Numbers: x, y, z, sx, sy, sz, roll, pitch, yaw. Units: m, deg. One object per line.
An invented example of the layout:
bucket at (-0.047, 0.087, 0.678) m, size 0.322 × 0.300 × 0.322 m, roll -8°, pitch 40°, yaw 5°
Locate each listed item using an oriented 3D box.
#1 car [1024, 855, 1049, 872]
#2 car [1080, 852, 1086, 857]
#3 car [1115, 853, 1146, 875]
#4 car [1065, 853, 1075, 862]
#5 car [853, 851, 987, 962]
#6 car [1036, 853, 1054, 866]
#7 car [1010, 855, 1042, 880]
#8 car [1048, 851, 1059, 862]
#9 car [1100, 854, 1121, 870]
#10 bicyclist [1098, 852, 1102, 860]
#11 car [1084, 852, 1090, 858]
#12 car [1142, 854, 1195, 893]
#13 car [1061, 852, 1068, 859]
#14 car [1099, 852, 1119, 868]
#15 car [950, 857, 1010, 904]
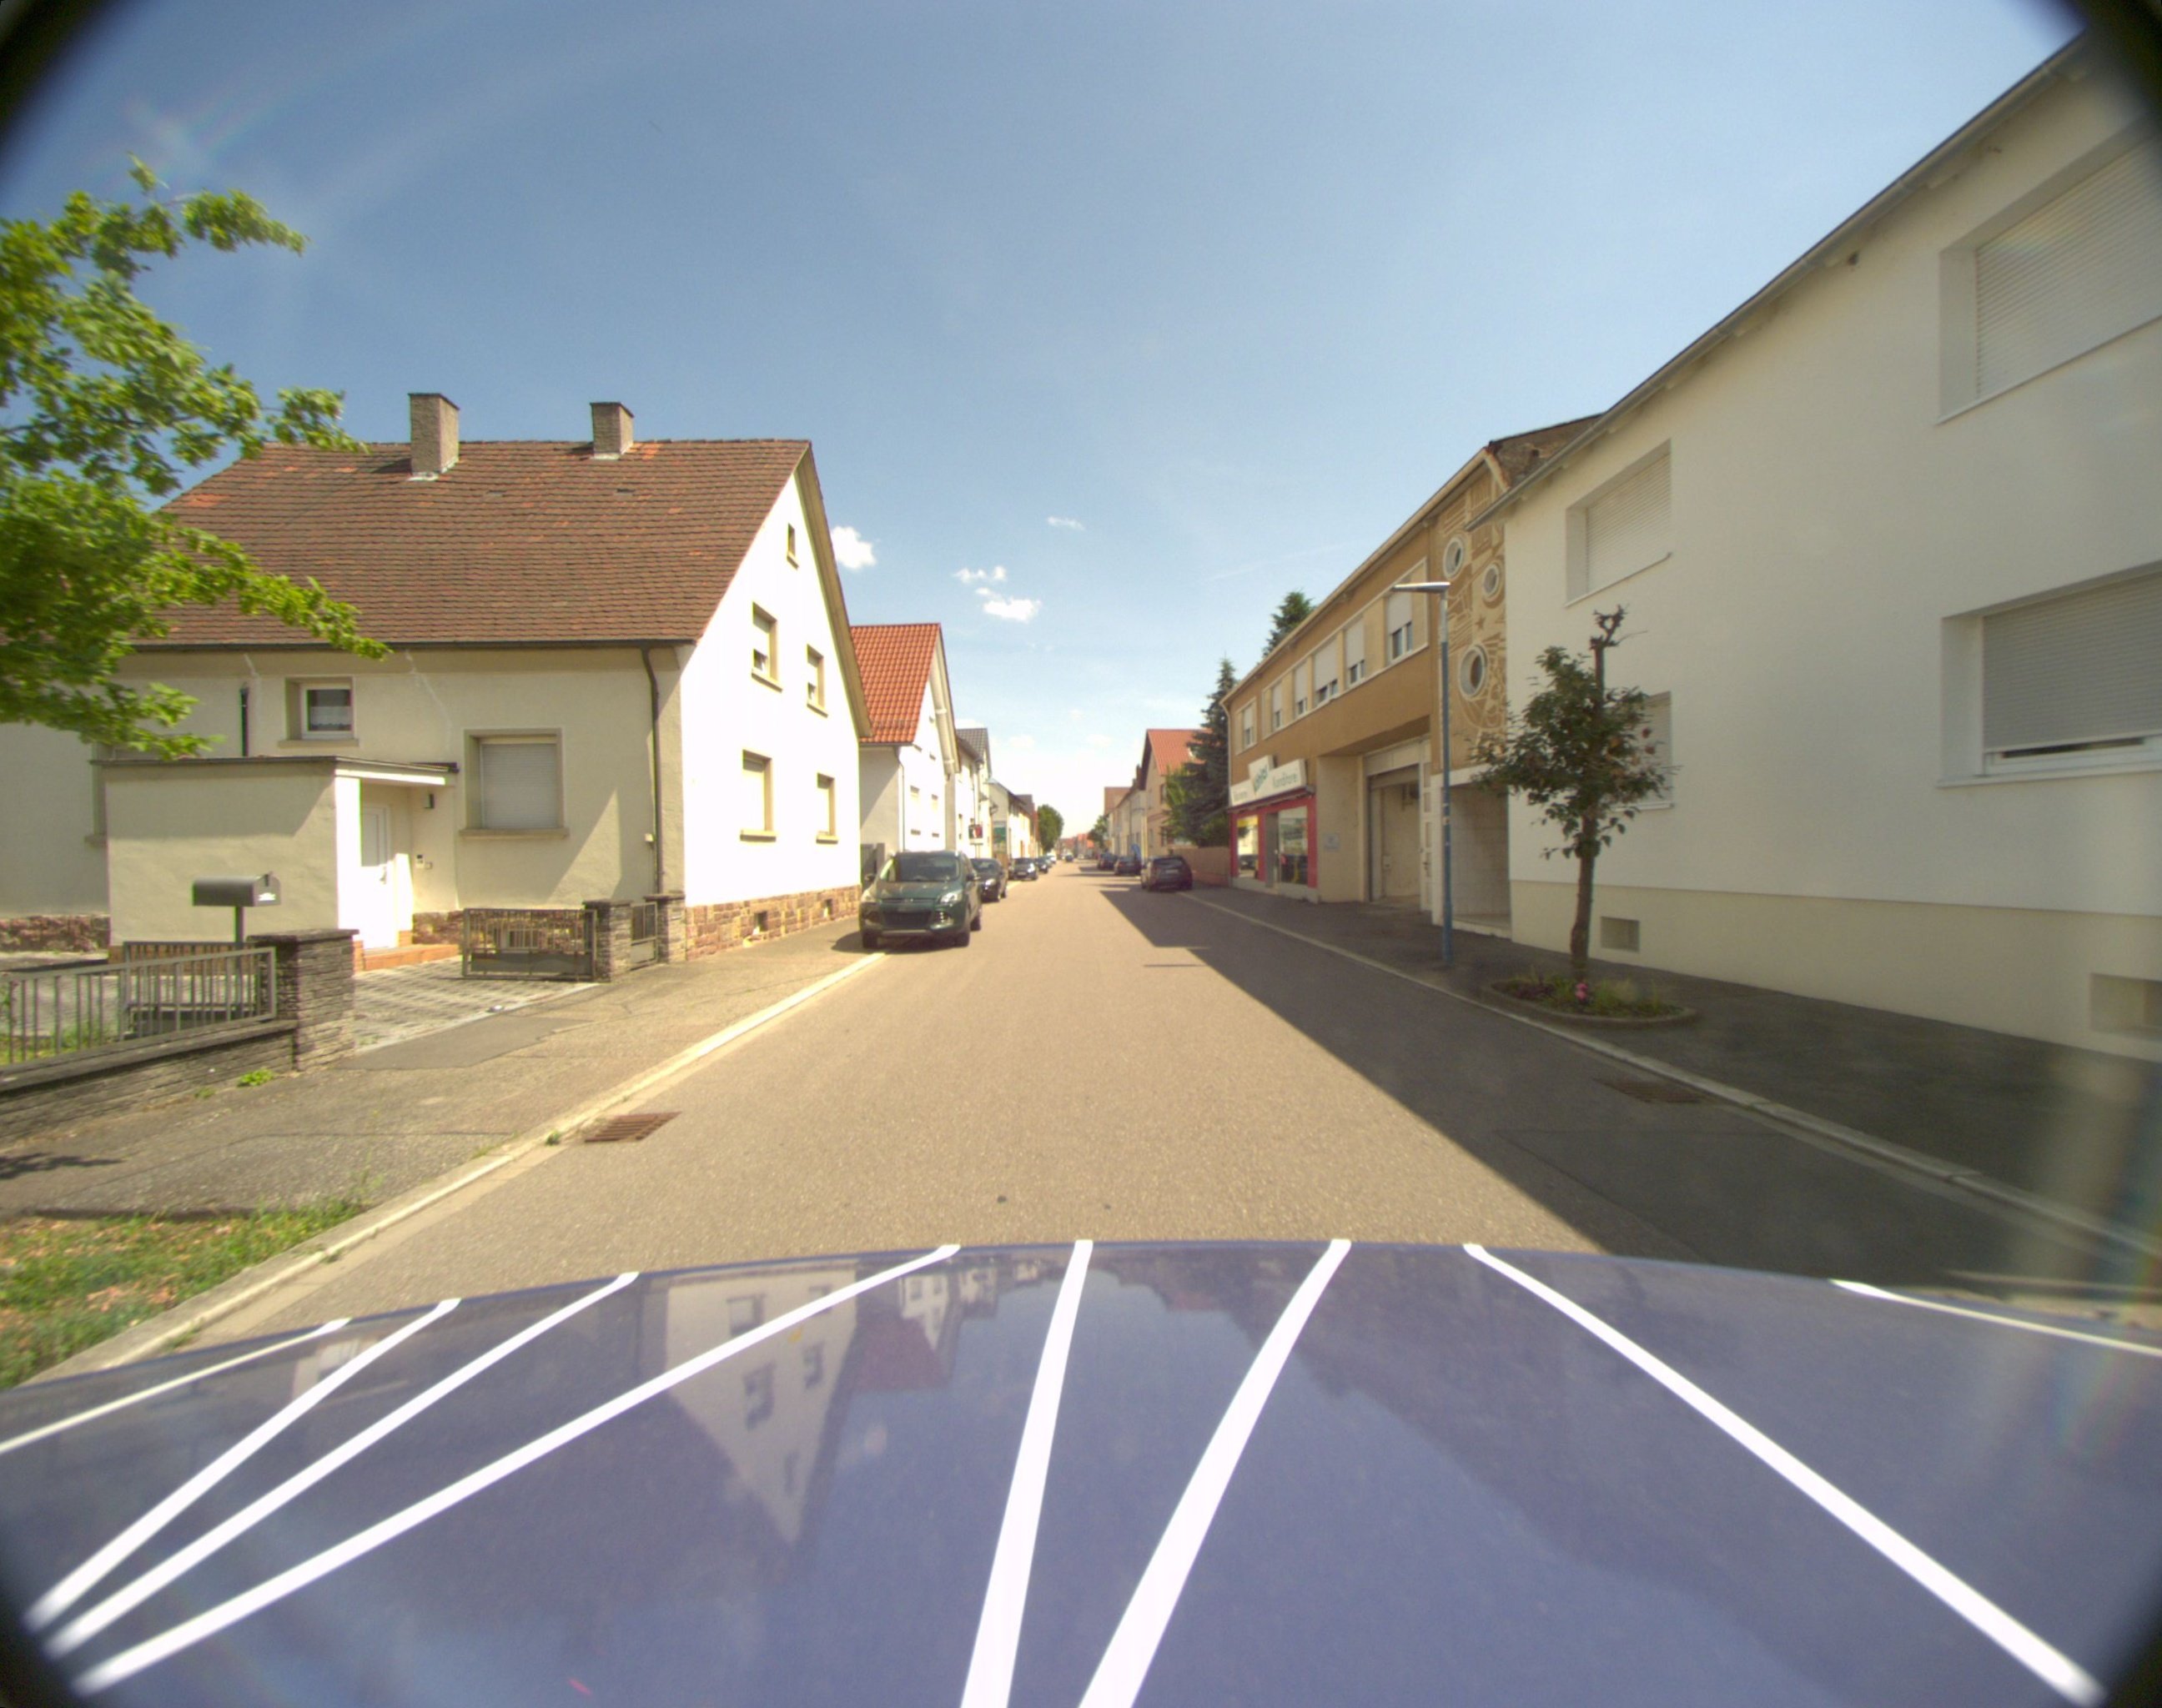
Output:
car at (-3.678, 0.767, 63.762) m, size 1.820 × 1.268 × 4.146 m, roll -1°, pitch 0°, yaw 0°
car at (0.570, 0.110, 223.604) m, size 1.598 × 1.385 × 4.167 m, roll -2°, pitch 0°, yaw -1°
car at (3.371, 0.681, 52.782) m, size 1.766 × 1.366 × 4.065 m, roll -2°, pitch 0°, yaw -1°
car at (-2.138, 0.707, 146.887) m, size 1.598 × 1.533 × 4.200 m, roll -3°, pitch 1°, yaw 2°
car at (-2.818, 0.823, 14.189) m, size 1.733 × 1.707 × 4.274 m, roll -1°, pitch 0°, yaw -3°
car at (-4.331, 0.599, 91.750) m, size 1.725 × 1.473 × 3.750 m, roll 2°, pitch 0°, yaw 3°
car at (-3.339, 0.780, 46.440) m, size 1.693 × 1.414 × 3.656 m, roll -1°, pitch 0°, yaw -1°
car at (-4.577, 0.384, 128.288) m, size 1.693 × 1.832 × 4.763 m, roll 1°, pitch 0°, yaw 0°
car at (2.737, 0.749, 70.748) m, size 1.702 × 1.403 × 4.389 m, roll -2°, pitch 0°, yaw 0°
bicyclist at (3.852, 0.421, 157.156) m, size 0.748 × 1.627 × 0.956 m, roll -2°, pitch 1°, yaw 3°
car at (1.680, 0.207, 207.246) m, size 1.727 × 1.385 × 4.170 m, roll -2°, pitch -2°, yaw 1°
car at (3.584, 0.763, 31.878) m, size 1.772 × 1.451 × 4.436 m, roll -1°, pitch 0°, yaw 1°
car at (-4.194, 0.370, 193.068) m, size 1.848 × 1.385 × 4.169 m, roll -1°, pitch -2°, yaw -3°
car at (2.797, 0.611, 77.571) m, size 1.722 × 1.630 × 4.148 m, roll 0°, pitch 0°, yaw -2°
car at (-3.524, 0.876, 27.037) m, size 1.621 × 1.487 × 3.971 m, roll 1°, pitch 0°, yaw -1°
